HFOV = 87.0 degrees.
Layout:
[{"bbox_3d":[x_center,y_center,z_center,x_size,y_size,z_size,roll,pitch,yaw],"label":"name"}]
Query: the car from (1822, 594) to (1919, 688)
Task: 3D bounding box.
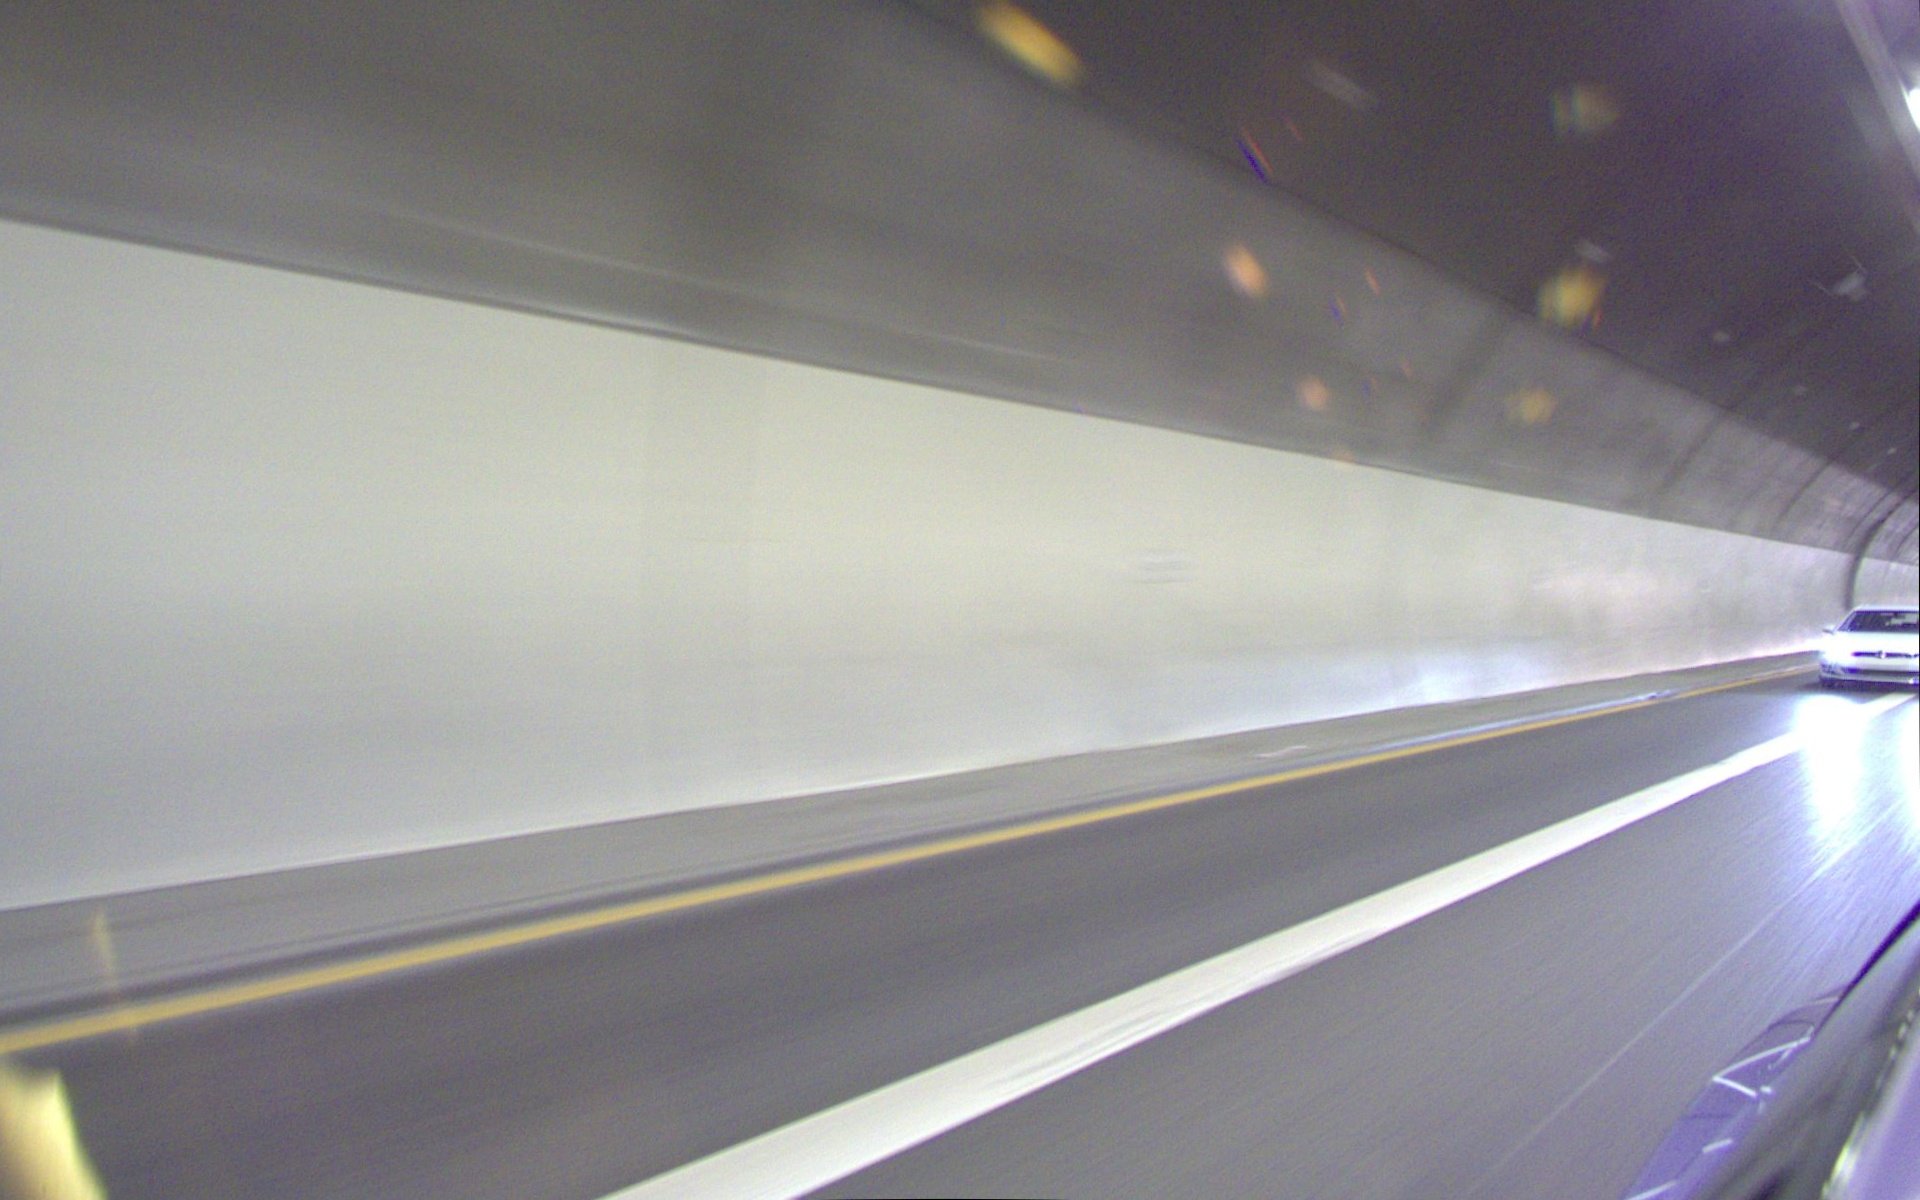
[{"bbox_3d":[16.506,0.644,17.498,3.962,1.479,1.801,0,1,-40],"label":"car"}]
